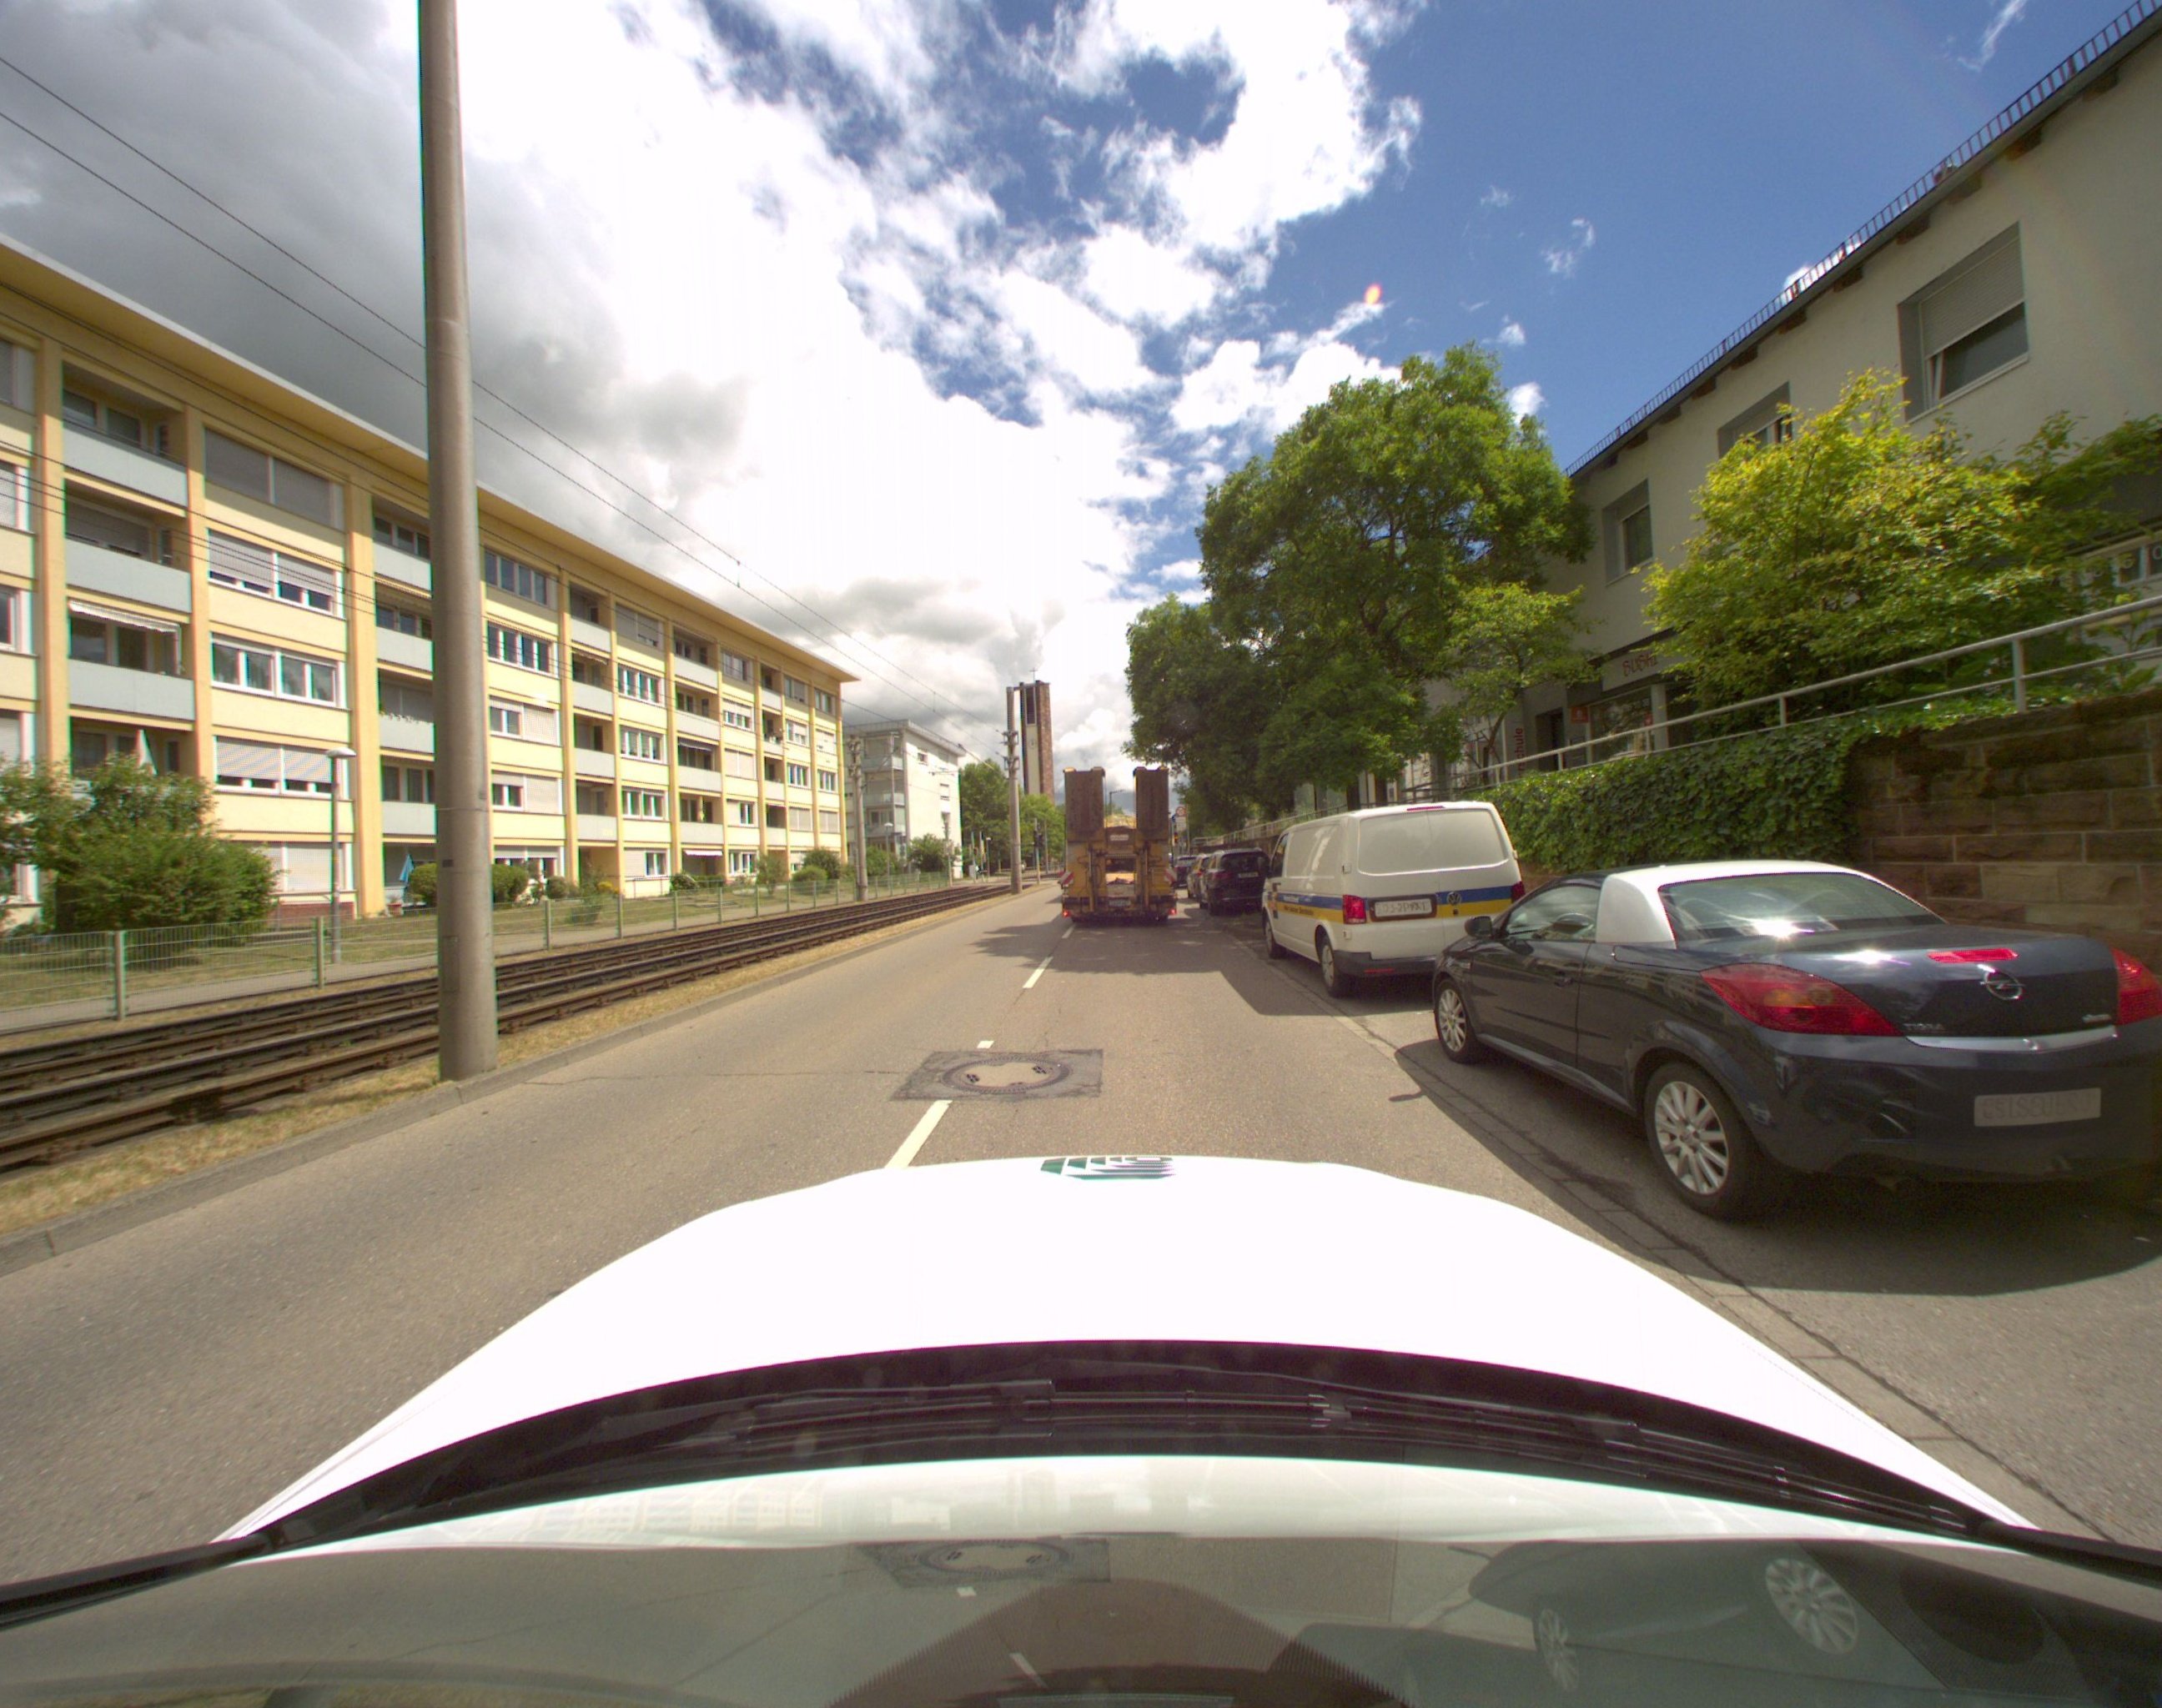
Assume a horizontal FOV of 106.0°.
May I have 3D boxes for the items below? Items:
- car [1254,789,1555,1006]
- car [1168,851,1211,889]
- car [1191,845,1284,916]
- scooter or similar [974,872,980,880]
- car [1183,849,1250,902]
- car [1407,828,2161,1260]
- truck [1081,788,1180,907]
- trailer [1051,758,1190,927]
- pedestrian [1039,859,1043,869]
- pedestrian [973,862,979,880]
[{"bbox_3d":[3.557,0.425,10.141,1.964,1.970,5.017,-2,-1,3],"label":"car"},{"bbox_3d":[5.336,0.771,40.359,1.842,1.639,4.005,-4,-1,5],"label":"car"},{"bbox_3d":[4.107,0.663,22.068,1.782,1.618,4.451,-4,-1,3],"label":"car"},{"bbox_3d":[-9.438,1.986,73.851,0.435,0.747,0.475,-2,-1,9],"label":"scooter or similar"},{"bbox_3d":[4.662,0.718,28.548,1.782,1.618,4.252,-3,-1,3],"label":"car"},{"bbox_3d":[3.310,0.657,4.629,1.567,1.428,3.738,-2,-1,3],"label":"car"},{"bbox_3d":[1.683,-0.179,27.310,2.929,3.572,4.882,-2,0,4],"label":"truck"},{"bbox_3d":[1.218,-0.210,21.879,2.931,3.601,8.695,-1,-1,5],"label":"trailer"},{"bbox_3d":[-5.819,1.480,119.439,0.561,1.514,0.646,0,-1,3],"label":"pedestrian"},{"bbox_3d":[-9.580,1.571,74.358,0.435,1.581,0.475,-2,-1,8],"label":"pedestrian"}]
